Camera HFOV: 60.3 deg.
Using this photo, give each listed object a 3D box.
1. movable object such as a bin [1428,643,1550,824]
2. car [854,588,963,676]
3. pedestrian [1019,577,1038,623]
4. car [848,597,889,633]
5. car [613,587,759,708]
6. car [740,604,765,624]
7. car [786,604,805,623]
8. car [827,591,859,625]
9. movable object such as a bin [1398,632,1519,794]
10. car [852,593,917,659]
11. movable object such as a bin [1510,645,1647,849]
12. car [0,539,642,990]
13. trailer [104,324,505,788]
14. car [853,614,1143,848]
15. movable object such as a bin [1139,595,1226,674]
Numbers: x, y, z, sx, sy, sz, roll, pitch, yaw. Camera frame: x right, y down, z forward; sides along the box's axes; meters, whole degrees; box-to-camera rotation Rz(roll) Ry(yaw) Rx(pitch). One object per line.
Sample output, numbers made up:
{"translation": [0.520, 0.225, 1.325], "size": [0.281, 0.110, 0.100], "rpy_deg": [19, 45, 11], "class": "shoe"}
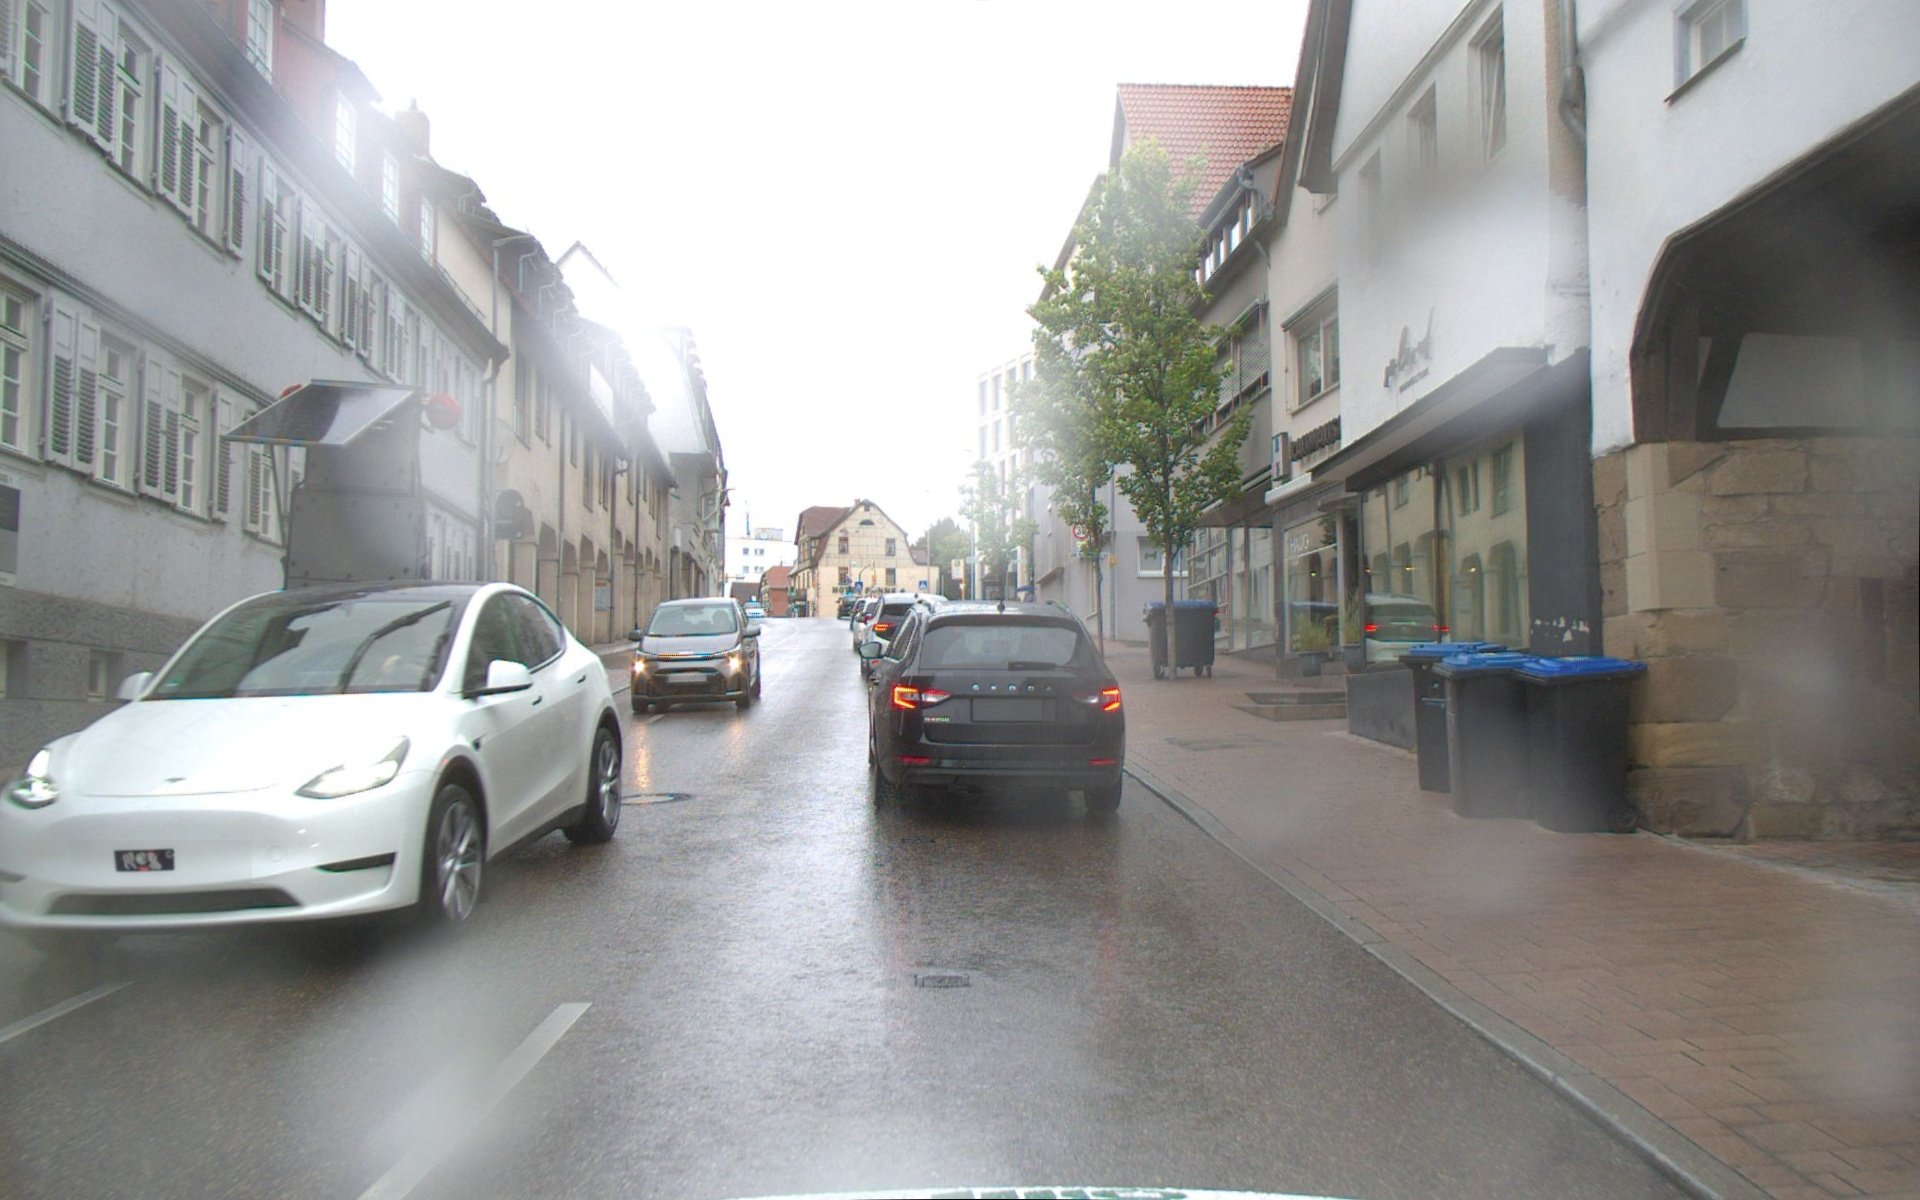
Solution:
{"translation": [3.557, 0.881, 11.166], "size": [0.556, 1.127, 0.676], "rpy_deg": [-3, 1, -1], "class": "movable object such as a bin"}
{"translation": [-0.876, 0.549, 30.089], "size": [1.818, 1.499, 4.000], "rpy_deg": [0, 0, 0], "class": "car"}
{"translation": [2.649, 0.002, 63.984], "size": [0.690, 1.755, 0.832], "rpy_deg": [1, 0, -1], "class": "pedestrian"}
{"translation": [-4.156, 0.659, 74.814], "size": [1.670, 1.579, 3.601], "rpy_deg": [1, 0, -6], "class": "car"}
{"translation": [-3.765, 0.618, 23.252], "size": [1.738, 1.561, 3.706], "rpy_deg": [0, 0, -5], "class": "car"}
{"translation": [-17.339, 1.138, 138.399], "size": [1.954, 1.680, 3.996], "rpy_deg": [0, 0, -5], "class": "car"}
{"translation": [-13.971, 1.103, 140.478], "size": [1.596, 1.557, 3.995], "rpy_deg": [1, 0, -6], "class": "car"}
{"translation": [-7.220, 0.514, 102.300], "size": [1.954, 2.049, 3.997], "rpy_deg": [0, 0, -3], "class": "car"}
{"translation": [3.640, 0.814, 12.115], "size": [0.646, 1.080, 0.614], "rpy_deg": [-4, 2, -1], "class": "movable object such as a bin"}
{"translation": [-2.123, 0.756, 45.799], "size": [1.596, 1.557, 3.994], "rpy_deg": [0, -5, -6], "class": "car"}
{"translation": [3.934, 0.919, 10.548], "size": [0.612, 1.226, 0.605], "rpy_deg": [0, 2, -4], "class": "movable object such as a bin"}
{"translation": [-3.048, 0.660, 8.712], "size": [1.835, 1.691, 4.307], "rpy_deg": [-3, 0, 0], "class": "car"}
{"translation": [-5.756, -0.348, 15.239], "size": [1.953, 3.595, 4.573], "rpy_deg": [1, 0, -2], "class": "trailer"}
{"translation": [0.248, 0.853, 12.733], "size": [1.848, 1.473, 4.356], "rpy_deg": [0, 0, 0], "class": "car"}
{"translation": [3.915, 0.599, 29.261], "size": [1.261, 1.373, 1.486], "rpy_deg": [0, 0, -4], "class": "movable object such as a bin"}
